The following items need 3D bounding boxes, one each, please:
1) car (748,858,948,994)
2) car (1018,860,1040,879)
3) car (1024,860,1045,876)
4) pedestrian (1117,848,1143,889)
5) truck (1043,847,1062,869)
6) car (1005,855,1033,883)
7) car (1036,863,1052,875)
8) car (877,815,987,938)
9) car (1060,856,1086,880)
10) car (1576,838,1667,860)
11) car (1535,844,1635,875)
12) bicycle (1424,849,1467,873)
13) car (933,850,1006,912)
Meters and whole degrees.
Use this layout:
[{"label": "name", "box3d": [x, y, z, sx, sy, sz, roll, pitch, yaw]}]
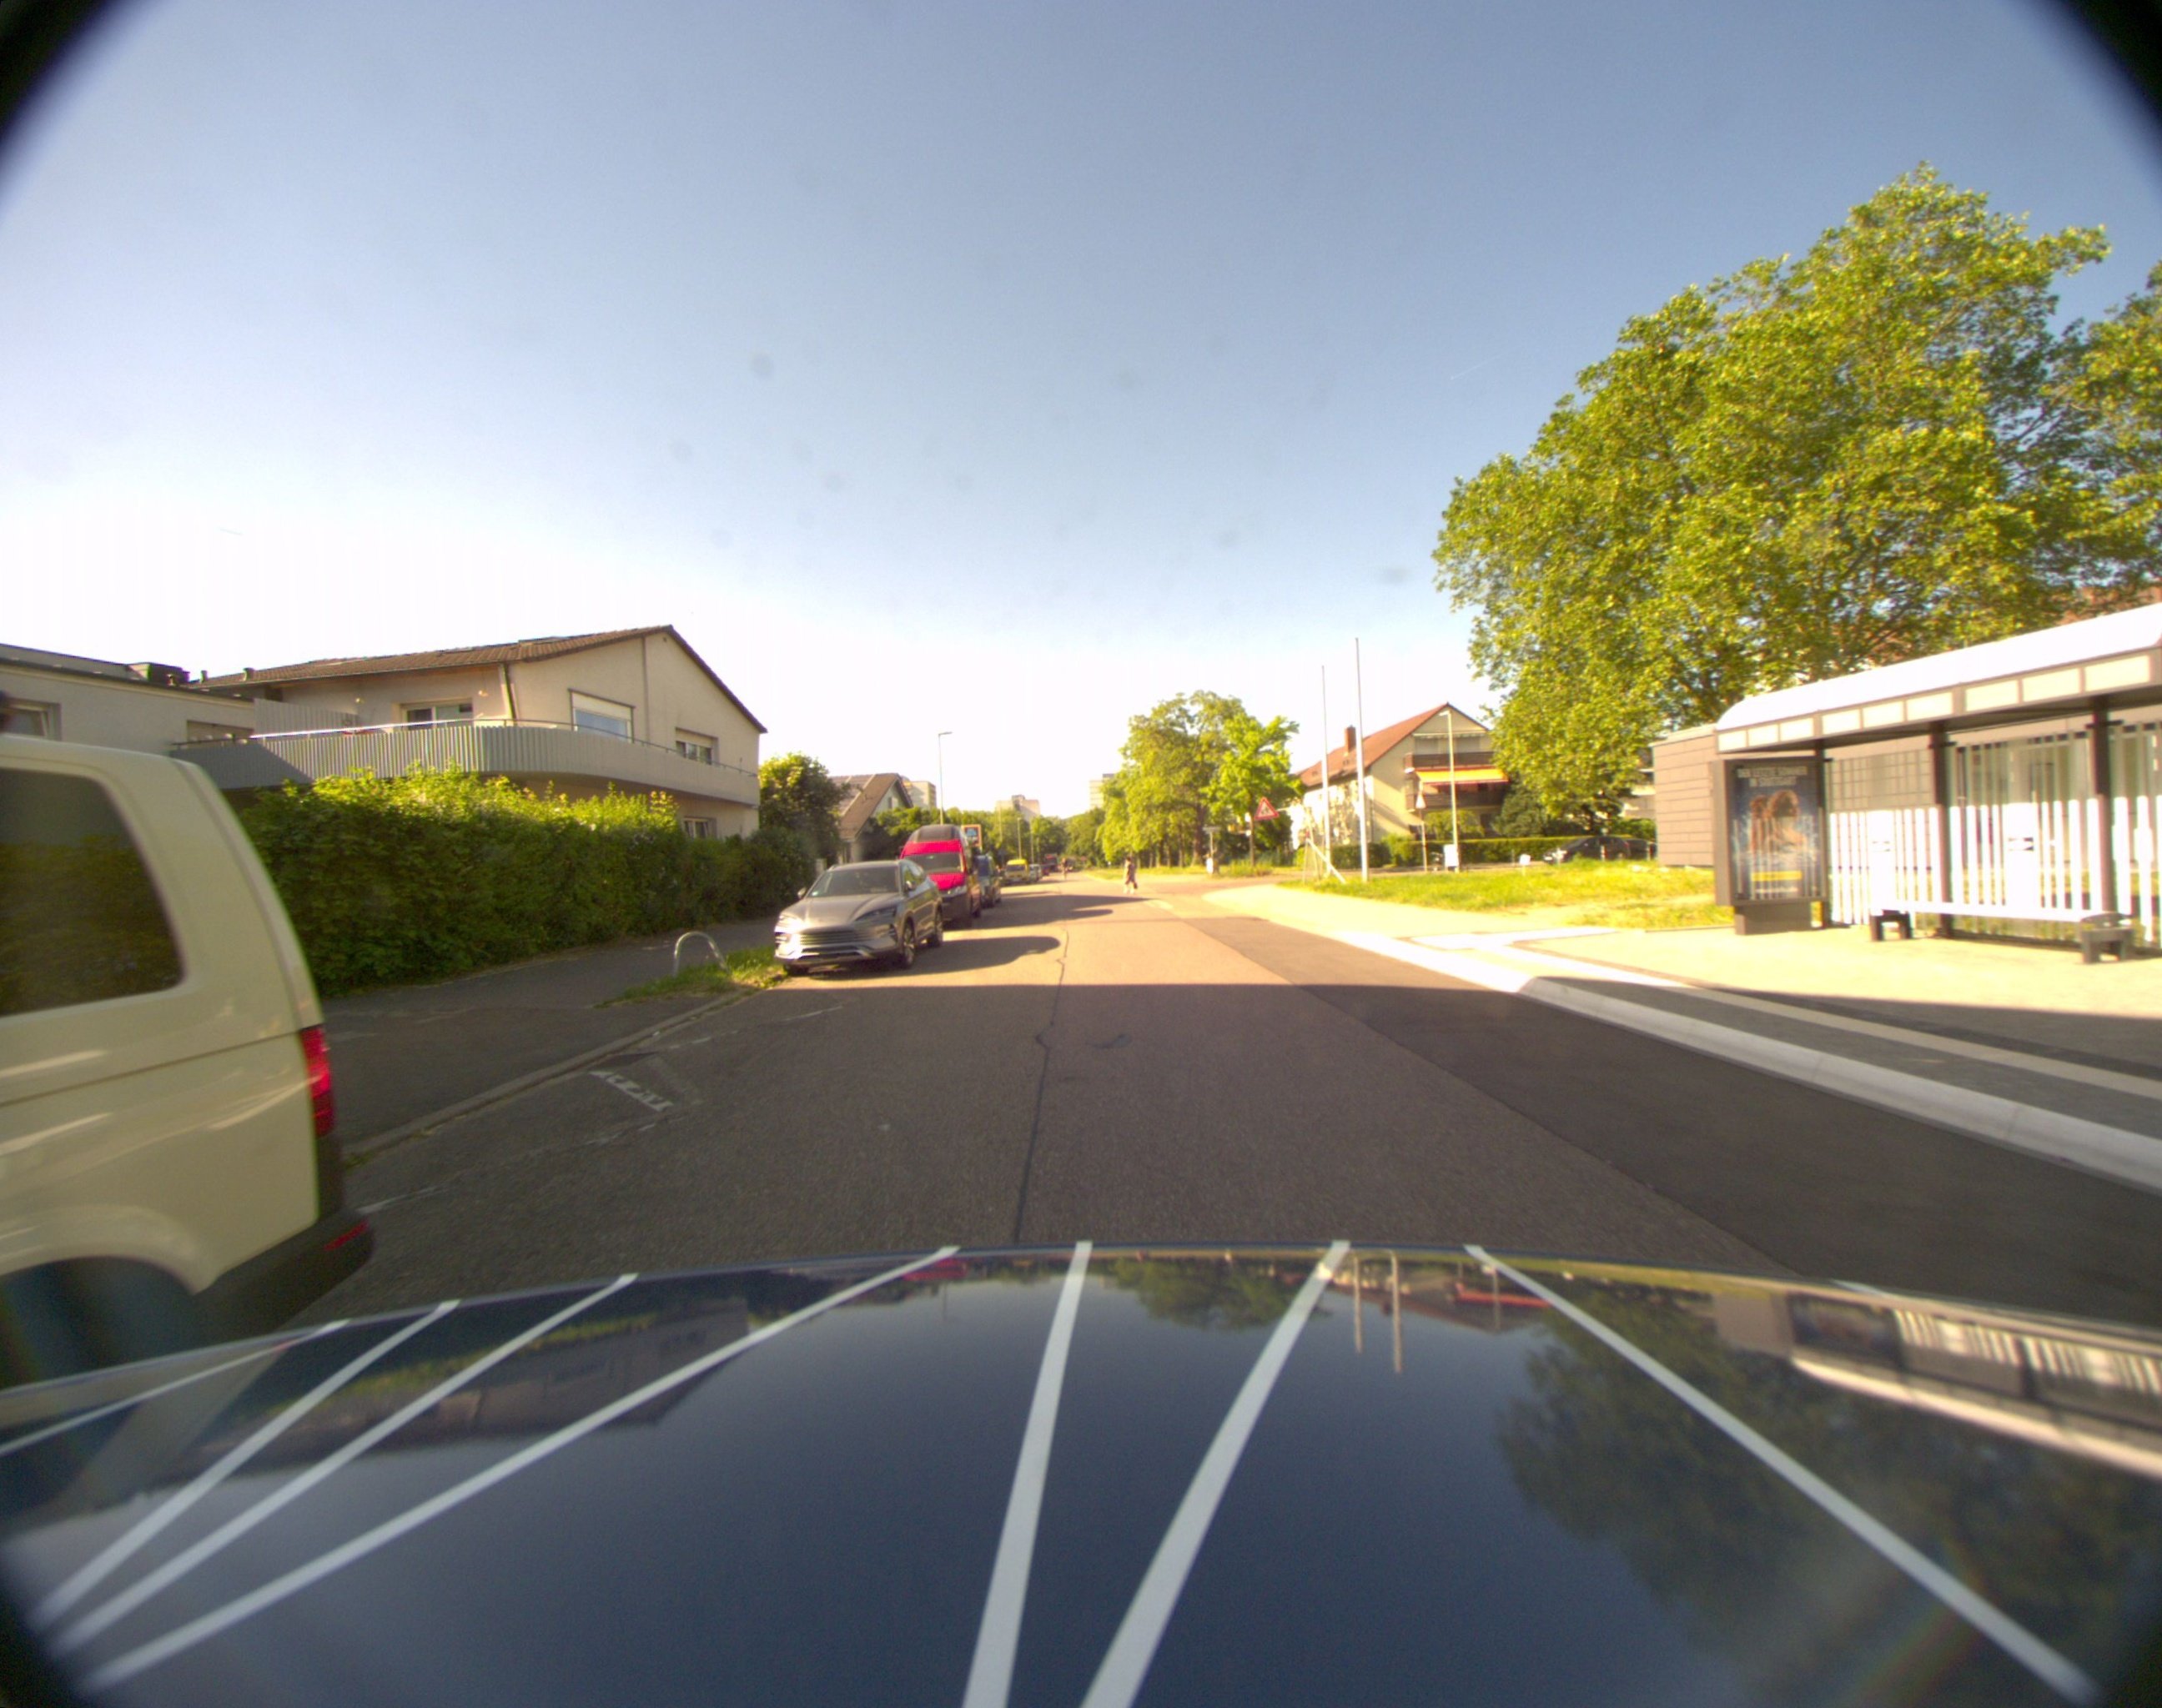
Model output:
[{"label": "car", "box3d": [-3.594, 0.996, 12.727, 1.962, 1.728, 4.575, -3, 0, -2]}, {"label": "car", "box3d": [-4.437, 1.318, 64.996, 1.621, 1.478, 3.981, -3, 0, -1]}, {"label": "car", "box3d": [-5.044, 1.509, 82.726, 1.999, 1.587, 4.577, -3, 0, -1]}, {"label": "pedestrian", "box3d": [1.966, 0.581, 30.267, 0.834, 1.578, 0.633, 2, 3, 24]}, {"label": "truck", "box3d": [-6.140, 0.831, 163.863, 3.602, 4.543, 10.023, -3, 0, -1]}, {"label": "car", "box3d": [-4.300, 1.028, 53.358, 1.621, 1.766, 3.981, -3, 0, -1]}, {"label": "car", "box3d": [-5.281, 2.175, 109.008, 1.998, 1.587, 4.578, -3, 0, 1]}, {"label": "car", "box3d": [-3.657, 0.511, 19.678, 1.962, 2.629, 5.221, -4, 0, -4]}, {"label": "car", "box3d": [-0.734, 1.259, 69.305, 1.966, 1.908, 4.575, -3, 1, -5]}, {"label": "car", "box3d": [31.433, -0.296, 44.253, 4.019, 1.026, 1.631, -3, 0, 4]}, {"label": "car", "box3d": [27.903, 0.284, 42.154, 4.107, 1.449, 2.115, -3, 1, -3]}, {"label": "bicycle", "box3d": [16.156, 0.312, 33.689, 1.598, 0.979, 0.500, -3, -1, 15]}, {"label": "car", "box3d": [-3.794, 0.871, 26.585, 1.862, 1.837, 4.559, -5, 0, -1]}]
